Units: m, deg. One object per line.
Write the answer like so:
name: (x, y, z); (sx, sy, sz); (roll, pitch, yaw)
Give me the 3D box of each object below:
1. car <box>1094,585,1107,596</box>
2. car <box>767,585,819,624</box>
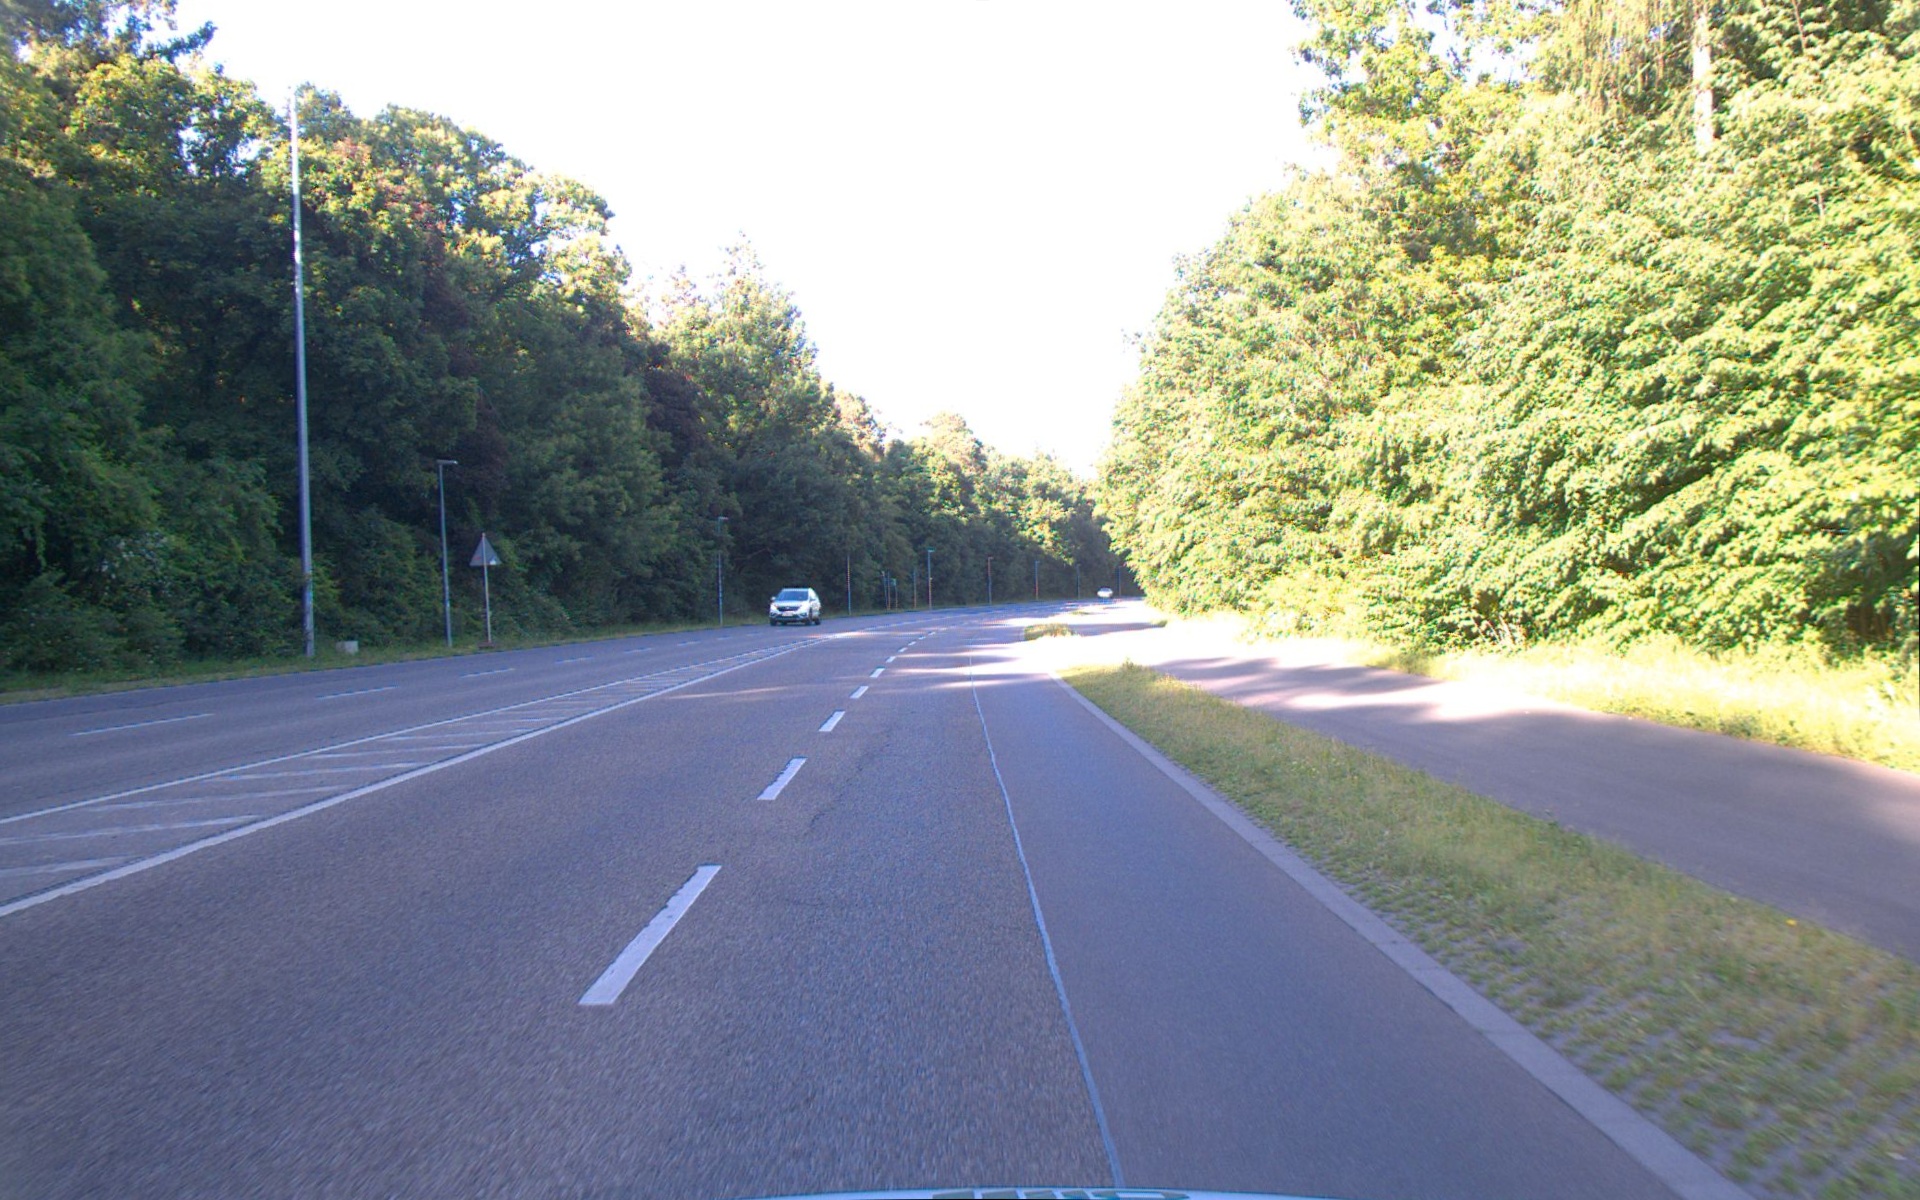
car: (21.492, -1.396, 253.379); (1.952, 1.613, 4.001); (-1, -1, 3)
car: (-7.494, 0.184, 74.673); (1.869, 1.693, 4.733); (0, 0, -1)
